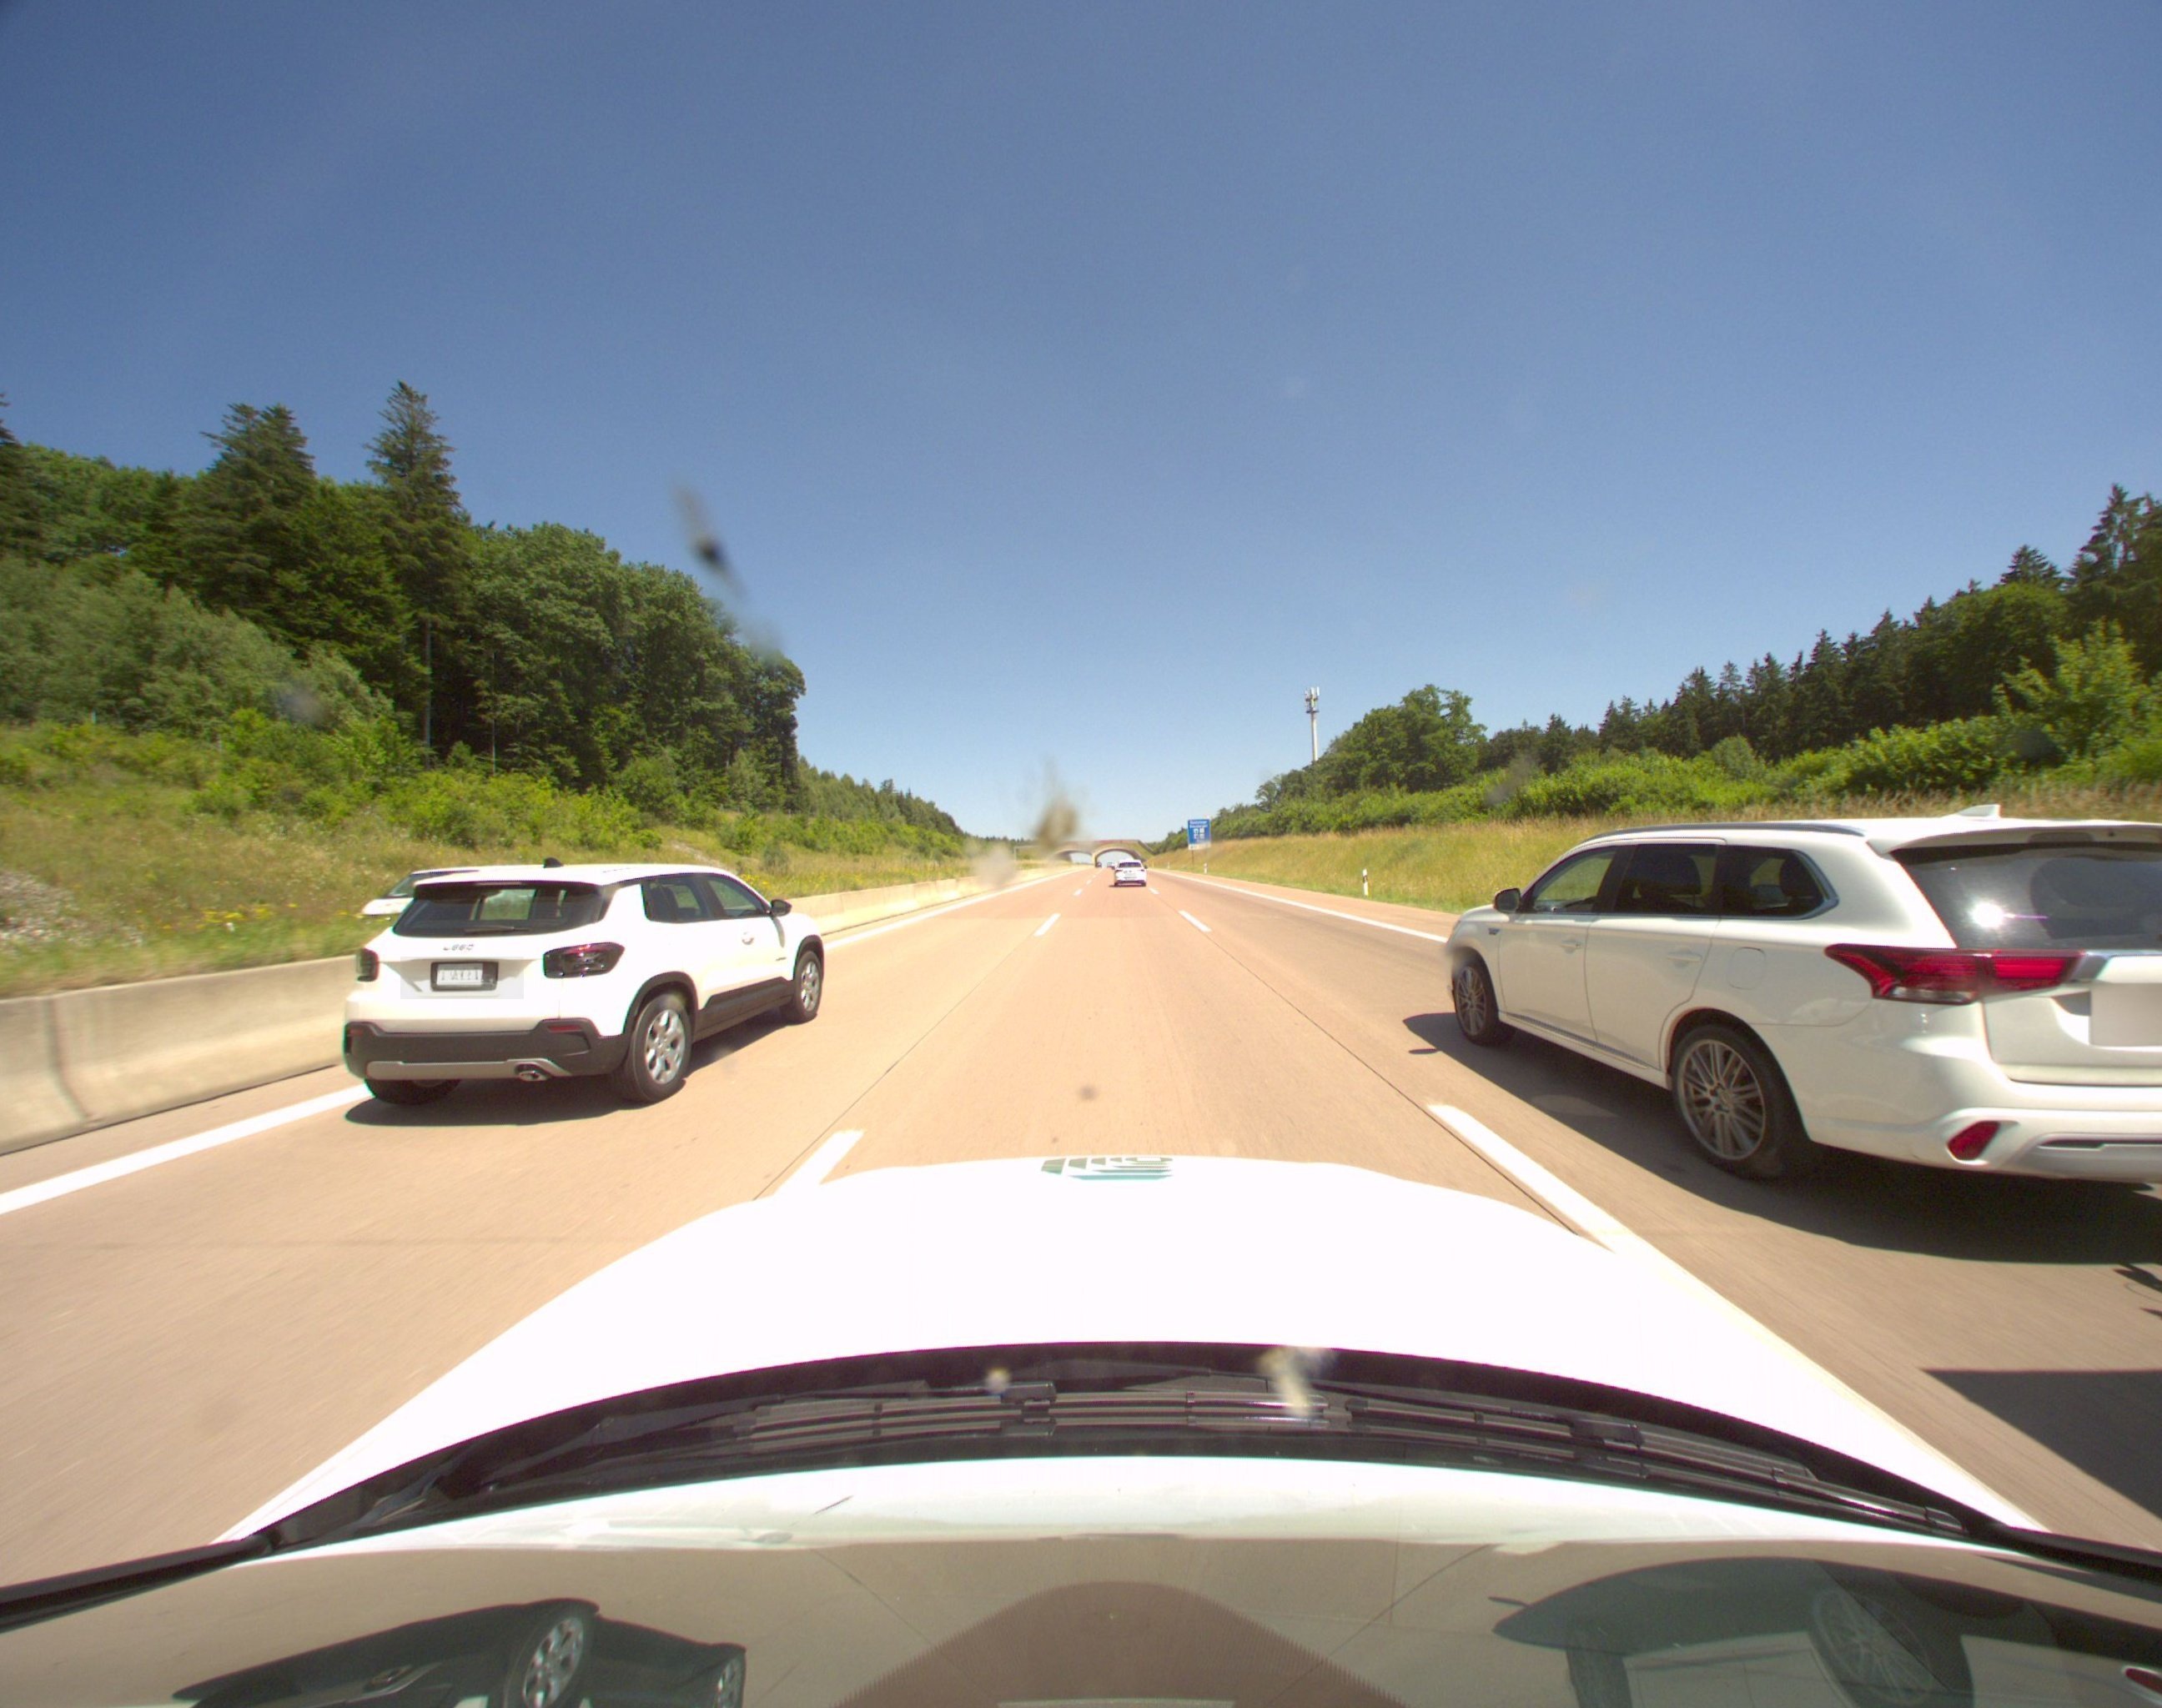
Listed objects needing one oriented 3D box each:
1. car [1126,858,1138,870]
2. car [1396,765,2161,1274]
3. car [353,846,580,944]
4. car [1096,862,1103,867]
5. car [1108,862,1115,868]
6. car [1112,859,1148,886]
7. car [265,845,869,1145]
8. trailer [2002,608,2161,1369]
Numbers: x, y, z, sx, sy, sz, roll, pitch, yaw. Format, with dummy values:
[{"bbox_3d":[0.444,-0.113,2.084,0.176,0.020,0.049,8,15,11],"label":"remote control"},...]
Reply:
[{"bbox_3d":[9.216,1.787,148.053,2.101,2.054,4.005,-1,0,4],"label":"car"},{"bbox_3d":[3.944,0.578,5.372,1.883,1.728,5.188,-1,-1,2],"label":"car"},{"bbox_3d":[-14.458,0.857,19.605,1.885,2.064,4.663,-1,0,0],"label":"car"},{"bbox_3d":[5.415,3.130,240.053,1.882,1.463,4.005,-1,0,4],"label":"car"},{"bbox_3d":[8.006,2.823,213.330,1.883,1.463,4.002,0,0,2],"label":"car"},{"bbox_3d":[2.724,1.003,44.816,1.882,1.398,4.004,0,0,4],"label":"car"},{"bbox_3d":[-3.441,0.787,6.860,1.872,1.607,4.836,-1,0,2],"label":"car"},{"bbox_3d":[3.822,0.382,0.681,1.651,2.164,4.018,-1,0,2],"label":"trailer"}]
